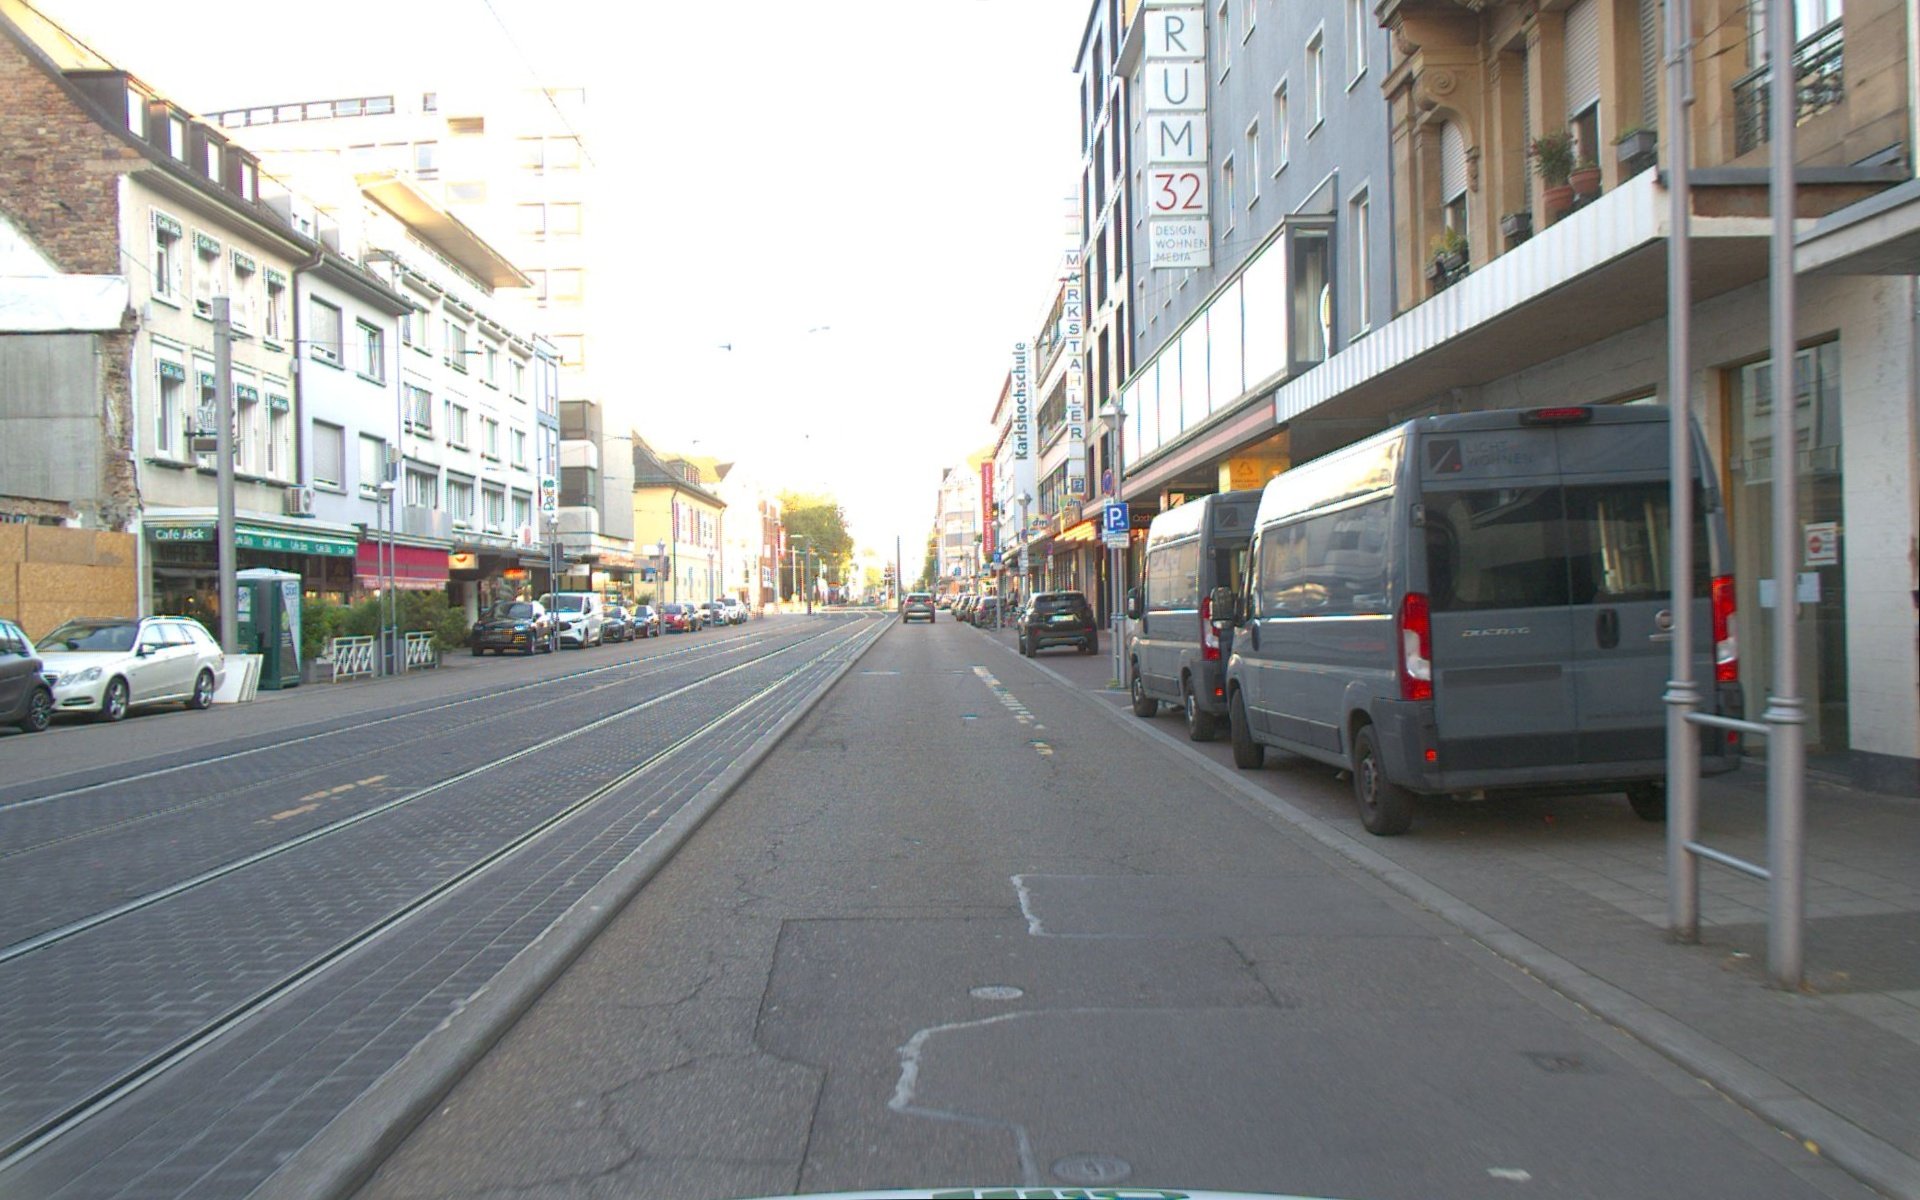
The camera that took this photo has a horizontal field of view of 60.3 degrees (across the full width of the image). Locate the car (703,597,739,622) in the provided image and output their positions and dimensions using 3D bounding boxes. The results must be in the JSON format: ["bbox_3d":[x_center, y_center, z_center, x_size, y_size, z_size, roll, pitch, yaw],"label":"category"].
[{"bbox_3d":[-14.791,0.602,102.633,1.755,1.475,3.890,1,0,-2],"label":"car"}]

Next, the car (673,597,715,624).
[{"bbox_3d":[-14.355,0.560,89.453,1.755,1.362,3.890,1,0,-2],"label":"car"}]

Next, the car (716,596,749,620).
[{"bbox_3d":[-14.908,0.526,108.665,1.755,1.475,3.890,1,0,-2],"label":"car"}]

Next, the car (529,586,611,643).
[{"bbox_3d":[-14.127,0.507,60.119,1.878,1.969,4.840,1,0,-1],"label":"car"}]

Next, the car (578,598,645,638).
[{"bbox_3d":[-14.197,0.709,67.641,1.879,1.547,4.628,1,0,-2],"label":"car"}]

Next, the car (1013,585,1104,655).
[{"bbox_3d":[2.419,0.469,41.558,1.904,1.571,4.544,-3,0,-1],"label":"car"}]

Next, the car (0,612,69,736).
[{"bbox_3d":[-12.855,0.930,21.024,1.559,1.531,2.811,1,0,-2],"label":"car"}]

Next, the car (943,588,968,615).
[{"bbox_3d":[-0.385,0.127,139.550,1.904,2.183,4.544,-3,0,-1],"label":"car"}]

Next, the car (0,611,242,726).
[{"bbox_3d":[-13.026,0.978,25.539,1.812,1.531,4.840,1,0,-1],"label":"car"}]

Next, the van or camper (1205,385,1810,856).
[{"bbox_3d":[3.474,0.103,12.169,2.145,2.468,6.130,-3,0,-2],"label":"van or camper"}]

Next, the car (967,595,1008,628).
[{"bbox_3d":[1.404,0.572,86.040,1.904,1.571,4.544,-3,0,-1],"label":"car"}]

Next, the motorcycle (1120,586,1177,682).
[{"bbox_3d":[3.014,0.516,26.429,0.795,1.441,2.006,-3,0,7],"label":"motorcycle"}]

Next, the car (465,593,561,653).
[{"bbox_3d":[-14.074,0.704,52.353,1.878,1.794,4.429,1,0,-1],"label":"car"}]

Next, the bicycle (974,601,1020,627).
[{"bbox_3d":[1.695,0.639,75.888,2.077,1.109,0.591,-1,0,-4],"label":"bicycle"}]

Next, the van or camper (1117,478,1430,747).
[{"bbox_3d":[3.294,0.119,18.719,2.145,2.468,5.515,-3,0,-3],"label":"van or camper"}]

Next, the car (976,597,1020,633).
[{"bbox_3d":[1.780,0.706,79.383,1.904,1.571,4.544,-3,0,-1],"label":"car"}]

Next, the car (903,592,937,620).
[{"bbox_3d":[-2.274,0.341,95.914,1.904,1.572,4.544,-1,0,-1],"label":"car"}]

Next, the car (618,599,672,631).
[{"bbox_3d":[-14.062,0.655,73.942,1.755,1.362,3.890,1,0,-2],"label":"car"}]

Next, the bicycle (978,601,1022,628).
[{"bbox_3d":[1.740,0.643,72.137,1.831,1.109,0.545,-1,0,-2],"label":"bicycle"}]

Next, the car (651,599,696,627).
[{"bbox_3d":[-14.529,0.653,84.034,1.755,1.362,3.890,1,0,-2],"label":"car"}]

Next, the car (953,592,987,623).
[{"bbox_3d":[0.596,0.422,101.078,1.904,1.733,4.544,-3,0,-1],"label":"car"}]
